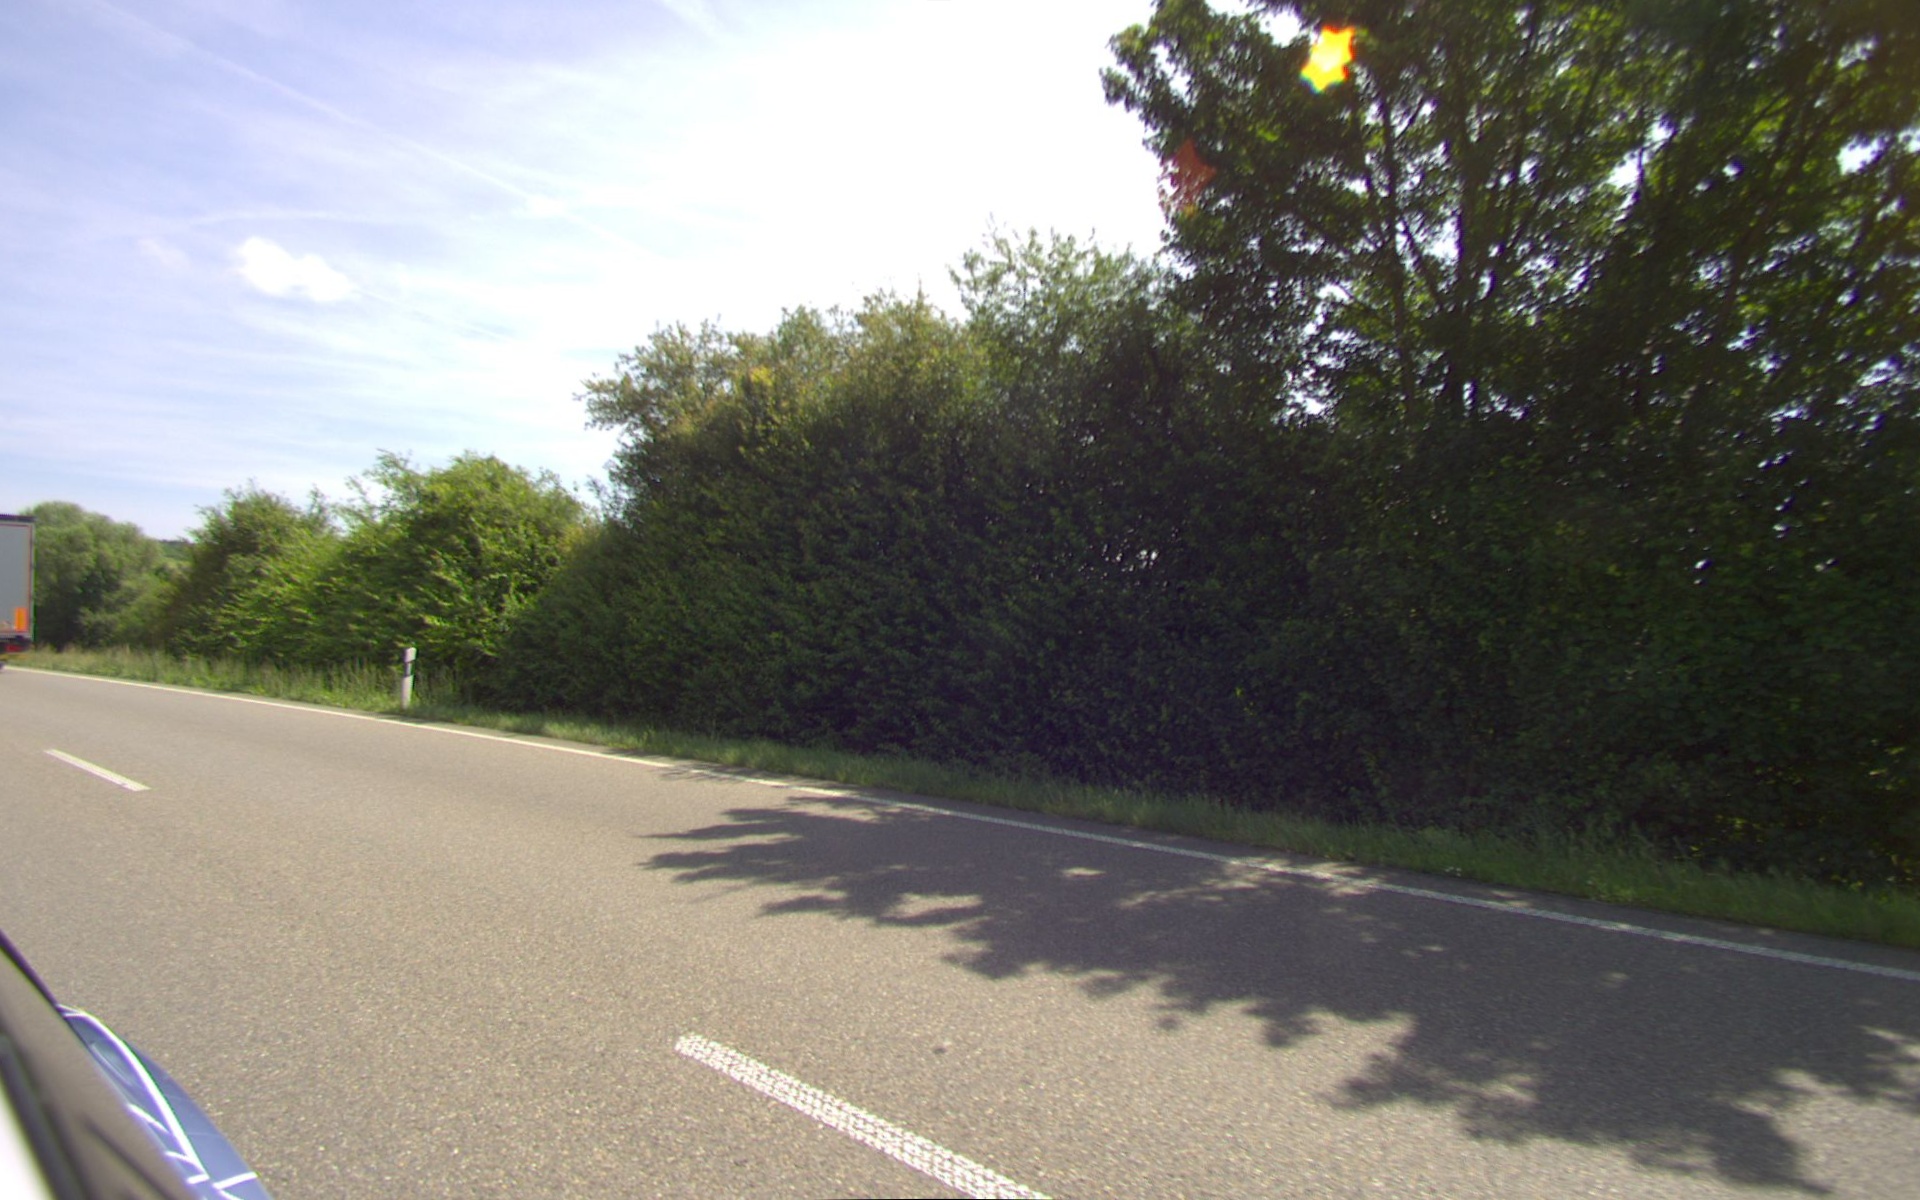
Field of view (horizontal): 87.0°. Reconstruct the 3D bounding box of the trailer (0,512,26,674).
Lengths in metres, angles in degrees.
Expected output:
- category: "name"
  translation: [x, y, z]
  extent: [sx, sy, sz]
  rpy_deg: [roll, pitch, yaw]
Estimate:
- category: "trailer"
  translation: [-30.431, -0.078, 29.250]
  extent: [13.636, 4.139, 2.545]
  rpy_deg: [-1, -1, 37]
